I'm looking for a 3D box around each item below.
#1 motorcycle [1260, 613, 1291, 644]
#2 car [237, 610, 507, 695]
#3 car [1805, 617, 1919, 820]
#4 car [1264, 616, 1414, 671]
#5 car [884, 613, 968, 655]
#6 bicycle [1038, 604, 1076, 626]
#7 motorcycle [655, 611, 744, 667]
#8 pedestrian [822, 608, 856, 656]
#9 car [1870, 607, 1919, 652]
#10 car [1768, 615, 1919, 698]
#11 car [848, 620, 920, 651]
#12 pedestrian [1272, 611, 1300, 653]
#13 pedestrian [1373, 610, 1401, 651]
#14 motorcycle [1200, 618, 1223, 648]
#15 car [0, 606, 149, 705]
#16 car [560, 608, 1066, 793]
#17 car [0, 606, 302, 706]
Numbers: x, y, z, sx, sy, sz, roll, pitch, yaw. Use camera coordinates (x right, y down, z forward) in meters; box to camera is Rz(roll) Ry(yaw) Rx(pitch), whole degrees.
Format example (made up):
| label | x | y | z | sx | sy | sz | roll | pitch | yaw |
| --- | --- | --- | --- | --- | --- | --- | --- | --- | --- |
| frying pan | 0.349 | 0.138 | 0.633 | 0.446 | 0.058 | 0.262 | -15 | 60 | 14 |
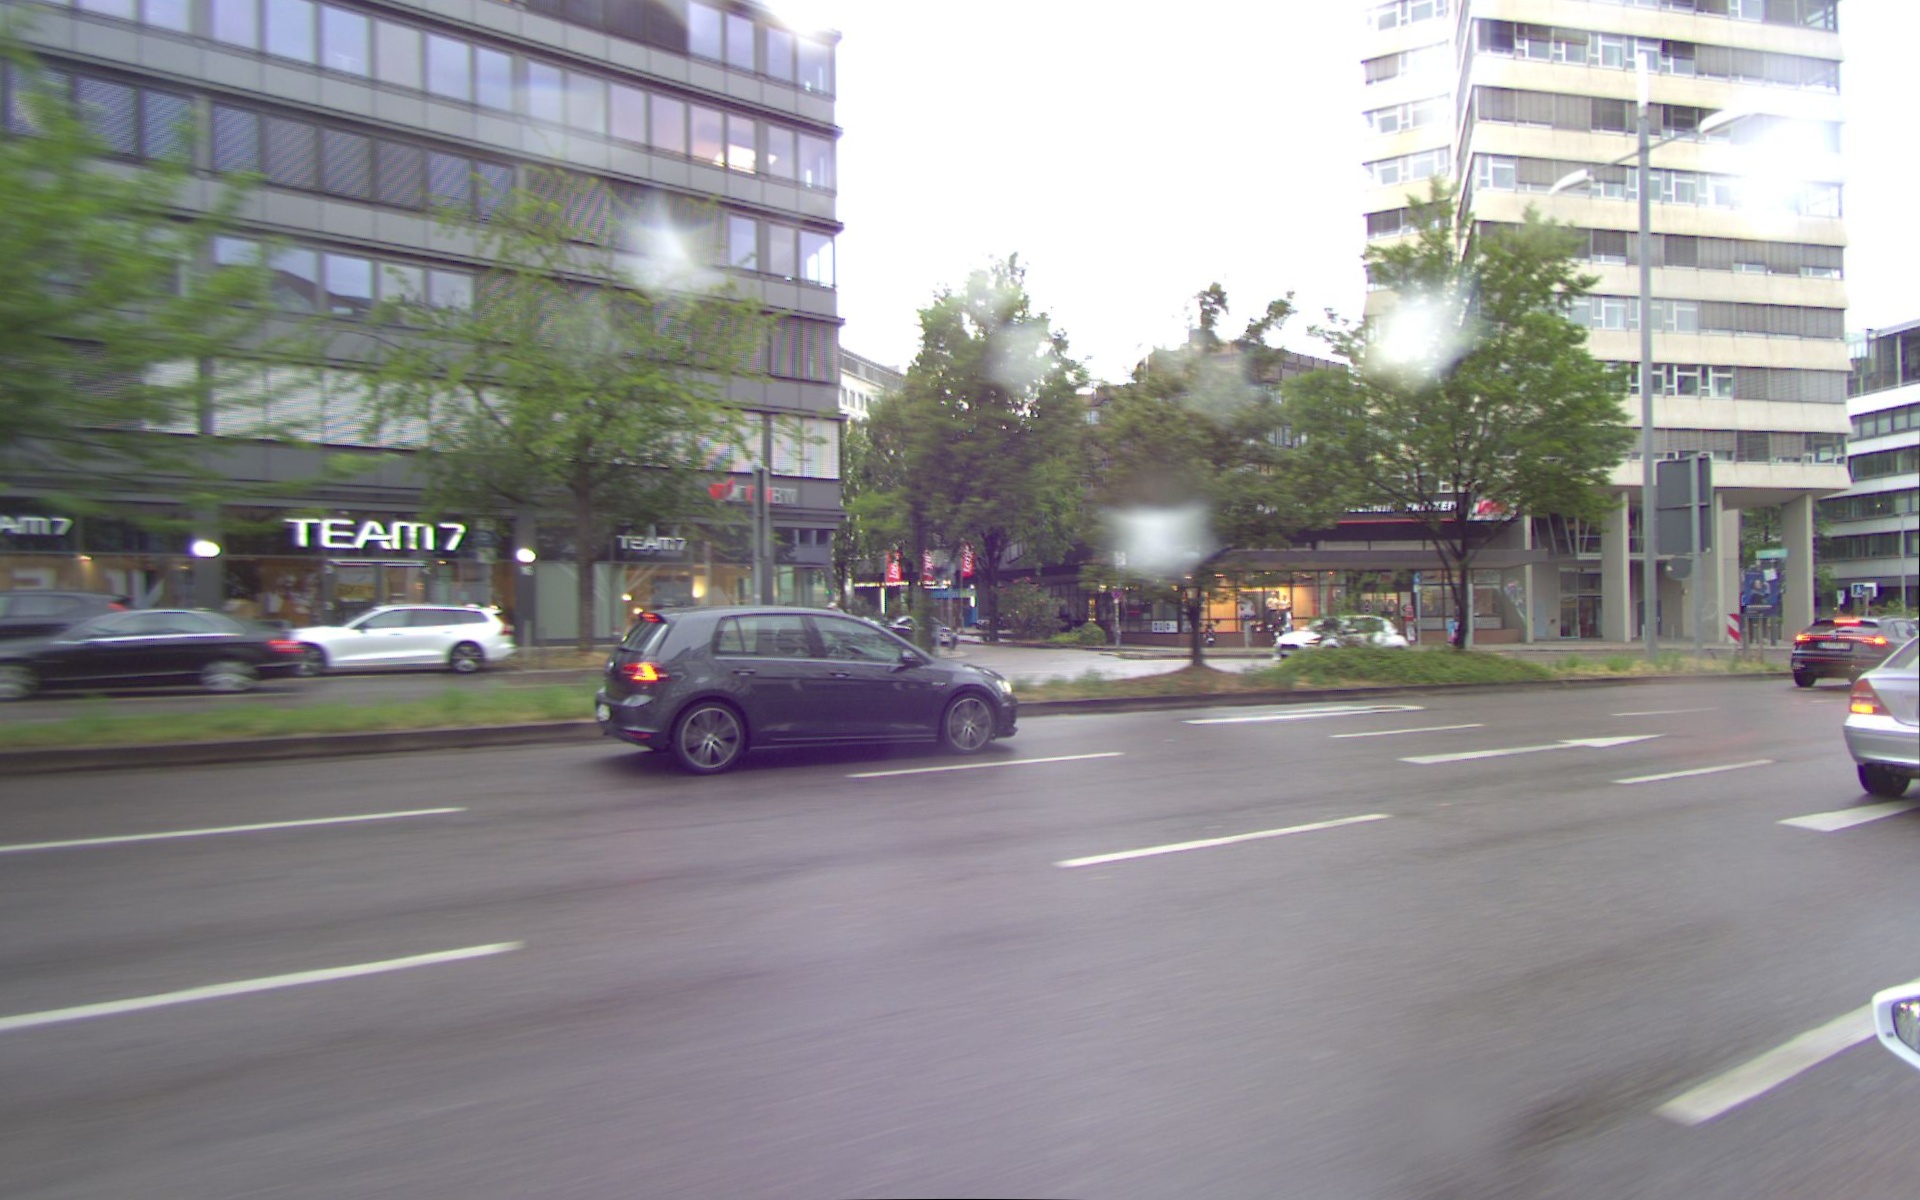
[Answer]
| label | x | y | z | sx | sy | sz | roll | pitch | yaw |
| --- | --- | --- | --- | --- | --- | --- | --- | --- | --- |
| motorcycle | 14.927 | 1.328 | 47.598 | 0.788 | 1.392 | 2.894 | 1 | 0 | 5 |
| car | -12.253 | 1.032 | 21.194 | 4.719 | 1.505 | 1.798 | 1 | 3 | -32 |
| car | 9.045 | 0.899 | 8.400 | 4.145 | 1.506 | 1.675 | 0 | 0 | -29 |
| car | 10.772 | 1.188 | 28.503 | 4.028 | 1.450 | 1.677 | 0 | 0 | -25 |
| car | -1.517 | 1.450 | 43.637 | 1.977 | 1.662 | 3.966 | 1 | 0 | -31 |
| bicycle | 5.890 | 0.921 | 61.196 | 2.181 | 1.345 | 0.913 | 1 | 0 | -30 |
| motorcycle | -7.072 | 1.033 | 27.393 | 0.844 | 1.412 | 2.364 | 4 | 1 | 31 |
| pedestrian | -4.189 | 1.093 | 34.714 | 0.955 | 1.659 | 0.779 | 0 | 0 | -32 |
| car | 40.574 | 1.216 | 41.862 | 4.417 | 1.751 | 1.738 | 1 | 1 | -14 |
| car | 19.296 | 1.119 | 21.337 | 4.431 | 1.564 | 1.983 | 0 | -1 | -31 |
| car | -3.672 | 1.671 | 47.935 | 1.826 | 1.305 | 3.966 | 1 | 0 | -31 |
| pedestrian | 14.617 | 1.410 | 45.034 | 0.908 | 1.857 | 0.818 | 0 | 0 | -11 |
| pedestrian | 19.231 | 1.366 | 45.289 | 0.908 | 1.857 | 0.728 | 1 | 0 | -12 |
| motorcycle | 12.003 | 1.552 | 48.011 | 0.709 | 1.351 | 2.822 | 1 | 0 | 7 |
| car | -17.410 | 0.961 | 17.980 | 4.259 | 1.683 | 1.800 | 1 | 1 | -31 |
| car | -1.361 | 0.821 | 9.930 | 4.633 | 1.470 | 1.830 | 0 | -1 | -30 |
| car | -13.434 | 0.851 | 16.624 | 4.257 | 1.495 | 1.797 | 0 | -1 | -35 |
